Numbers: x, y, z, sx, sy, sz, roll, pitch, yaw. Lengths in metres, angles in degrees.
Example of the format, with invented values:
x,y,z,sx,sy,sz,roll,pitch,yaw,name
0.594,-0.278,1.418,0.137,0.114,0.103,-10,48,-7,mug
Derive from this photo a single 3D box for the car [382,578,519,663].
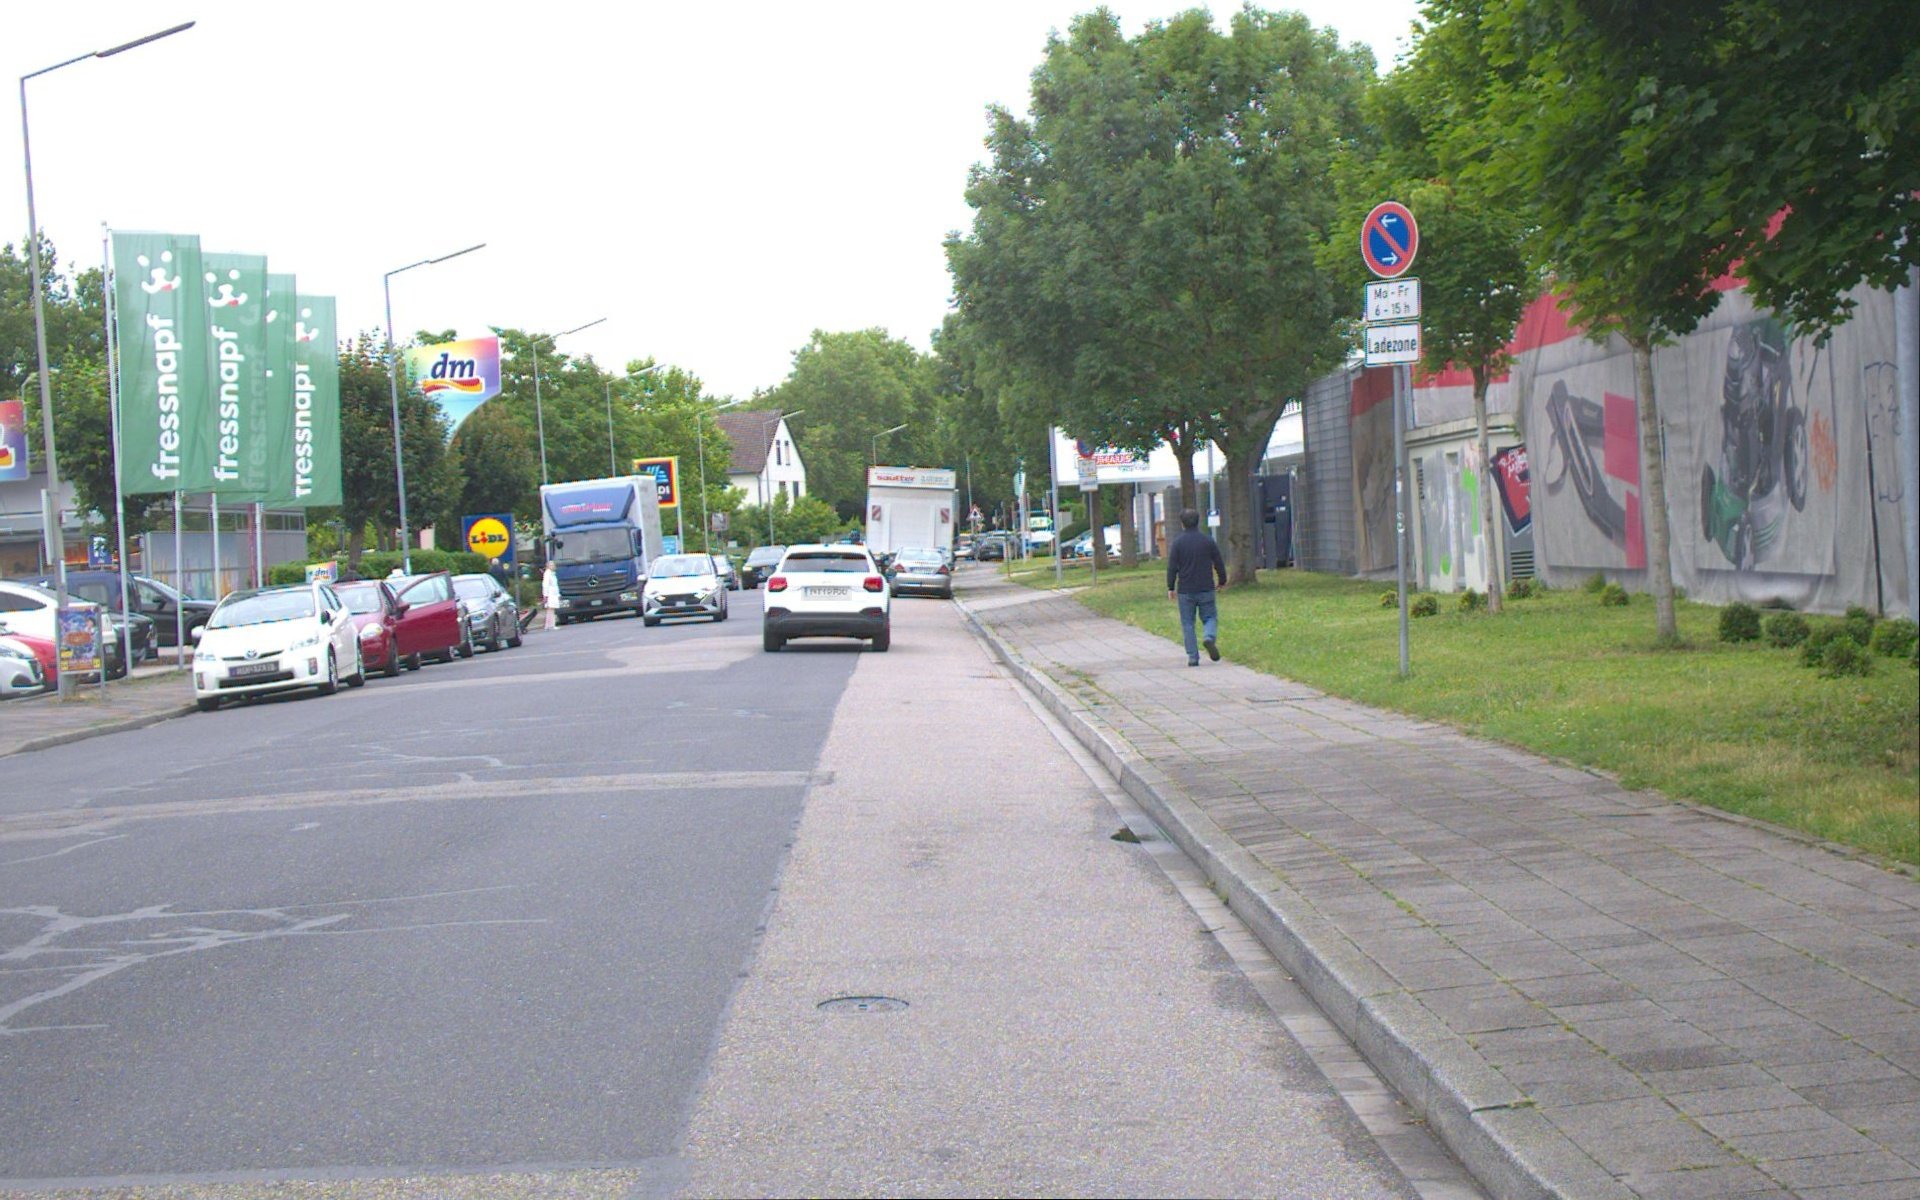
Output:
x,y,z,sx,sy,sz,roll,pitch,yaw,name
-9.323,0.351,63.144,1.898,1.362,4.000,-3,1,-1,car

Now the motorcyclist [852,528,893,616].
x,y,z,sx,sy,sz,roll,pitch,yaw,name
-1.583,-0.506,61.990,0.625,1.548,0.604,-3,1,1,motorcyclist

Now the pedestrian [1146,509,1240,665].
x,y,z,sx,sy,sz,roll,pitch,yaw,name
2.491,-0.139,36.843,0.919,1.629,0.852,-2,0,1,pedestrian

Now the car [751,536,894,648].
x,y,z,sx,sy,sz,roll,pitch,yaw,name
-1.948,-0.149,49.935,1.886,1.526,4.254,-1,1,0,car

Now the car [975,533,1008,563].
x,y,z,sx,sy,sz,roll,pitch,yaw,name
1.827,-3.053,200.072,1.886,1.677,4.254,-1,1,0,car

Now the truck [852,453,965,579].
x,y,z,sx,sy,sz,roll,pitch,yaw,name
-1.654,-2.487,105.061,3.135,3.572,10.051,-2,0,-2,truck

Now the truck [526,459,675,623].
x,y,z,sx,sy,sz,roll,pitch,yaw,name
-9.407,-1.574,90.675,2.973,3.942,6.405,-5,1,0,truck

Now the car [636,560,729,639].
x,y,z,sx,sy,sz,roll,pitch,yaw,name
-5.937,-0.032,73.809,1.599,1.523,3.528,-5,1,0,car

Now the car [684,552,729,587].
x,y,z,sx,sy,sz,roll,pitch,yaw,name
-10.282,-1.233,139.545,1.623,1.370,3.453,-2,0,-2,car

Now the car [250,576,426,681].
x,y,z,sx,sy,sz,roll,pitch,yaw,name
-9.295,0.402,51.677,1.898,1.362,4.000,-3,1,-1,car

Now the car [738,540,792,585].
x,y,z,sx,sy,sz,roll,pitch,yaw,name
-7.749,-1.481,136.780,1.993,1.678,4.000,-2,0,-2,car

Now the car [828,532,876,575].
x,y,z,sx,sy,sz,roll,pitch,yaw,name
-4.508,-1.942,143.057,1.869,1.656,4.001,-4,1,-2,car

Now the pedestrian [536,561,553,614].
x,y,z,sx,sy,sz,roll,pitch,yaw,name
-12.399,-0.374,102.529,0.401,1.526,0.485,-4,1,-7,pedestrian

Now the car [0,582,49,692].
x,y,z,sx,sy,sz,roll,pitch,yaw,name
-14.859,0.598,47.357,4.202,1.458,1.953,-3,1,-8,car

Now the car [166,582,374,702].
x,y,z,sx,sy,sz,roll,pitch,yaw,name
-8.989,0.515,45.115,1.898,1.362,4.000,-3,1,-1,car

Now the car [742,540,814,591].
x,y,z,sx,sy,sz,roll,pitch,yaw,name
-5.434,-1.062,103.053,1.937,1.362,4.000,-4,1,-1,car

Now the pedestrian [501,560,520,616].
x,y,z,sx,sy,sz,roll,pitch,yaw,name
-12.567,-0.332,96.123,0.401,1.526,0.485,-4,1,-7,pedestrian

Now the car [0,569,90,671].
x,y,z,sx,sy,sz,roll,pitch,yaw,name
-15.511,0.389,52.208,4.134,1.458,1.899,-4,1,-6,car

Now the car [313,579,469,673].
x,y,z,sx,sy,sz,roll,pitch,yaw,name
-9.413,0.403,57.170,1.898,1.362,4.000,-3,1,-1,car

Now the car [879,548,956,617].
x,y,z,sx,sy,sz,roll,pitch,yaw,name
-1.211,-0.494,96.030,1.993,1.799,4.000,-2,0,-2,car
